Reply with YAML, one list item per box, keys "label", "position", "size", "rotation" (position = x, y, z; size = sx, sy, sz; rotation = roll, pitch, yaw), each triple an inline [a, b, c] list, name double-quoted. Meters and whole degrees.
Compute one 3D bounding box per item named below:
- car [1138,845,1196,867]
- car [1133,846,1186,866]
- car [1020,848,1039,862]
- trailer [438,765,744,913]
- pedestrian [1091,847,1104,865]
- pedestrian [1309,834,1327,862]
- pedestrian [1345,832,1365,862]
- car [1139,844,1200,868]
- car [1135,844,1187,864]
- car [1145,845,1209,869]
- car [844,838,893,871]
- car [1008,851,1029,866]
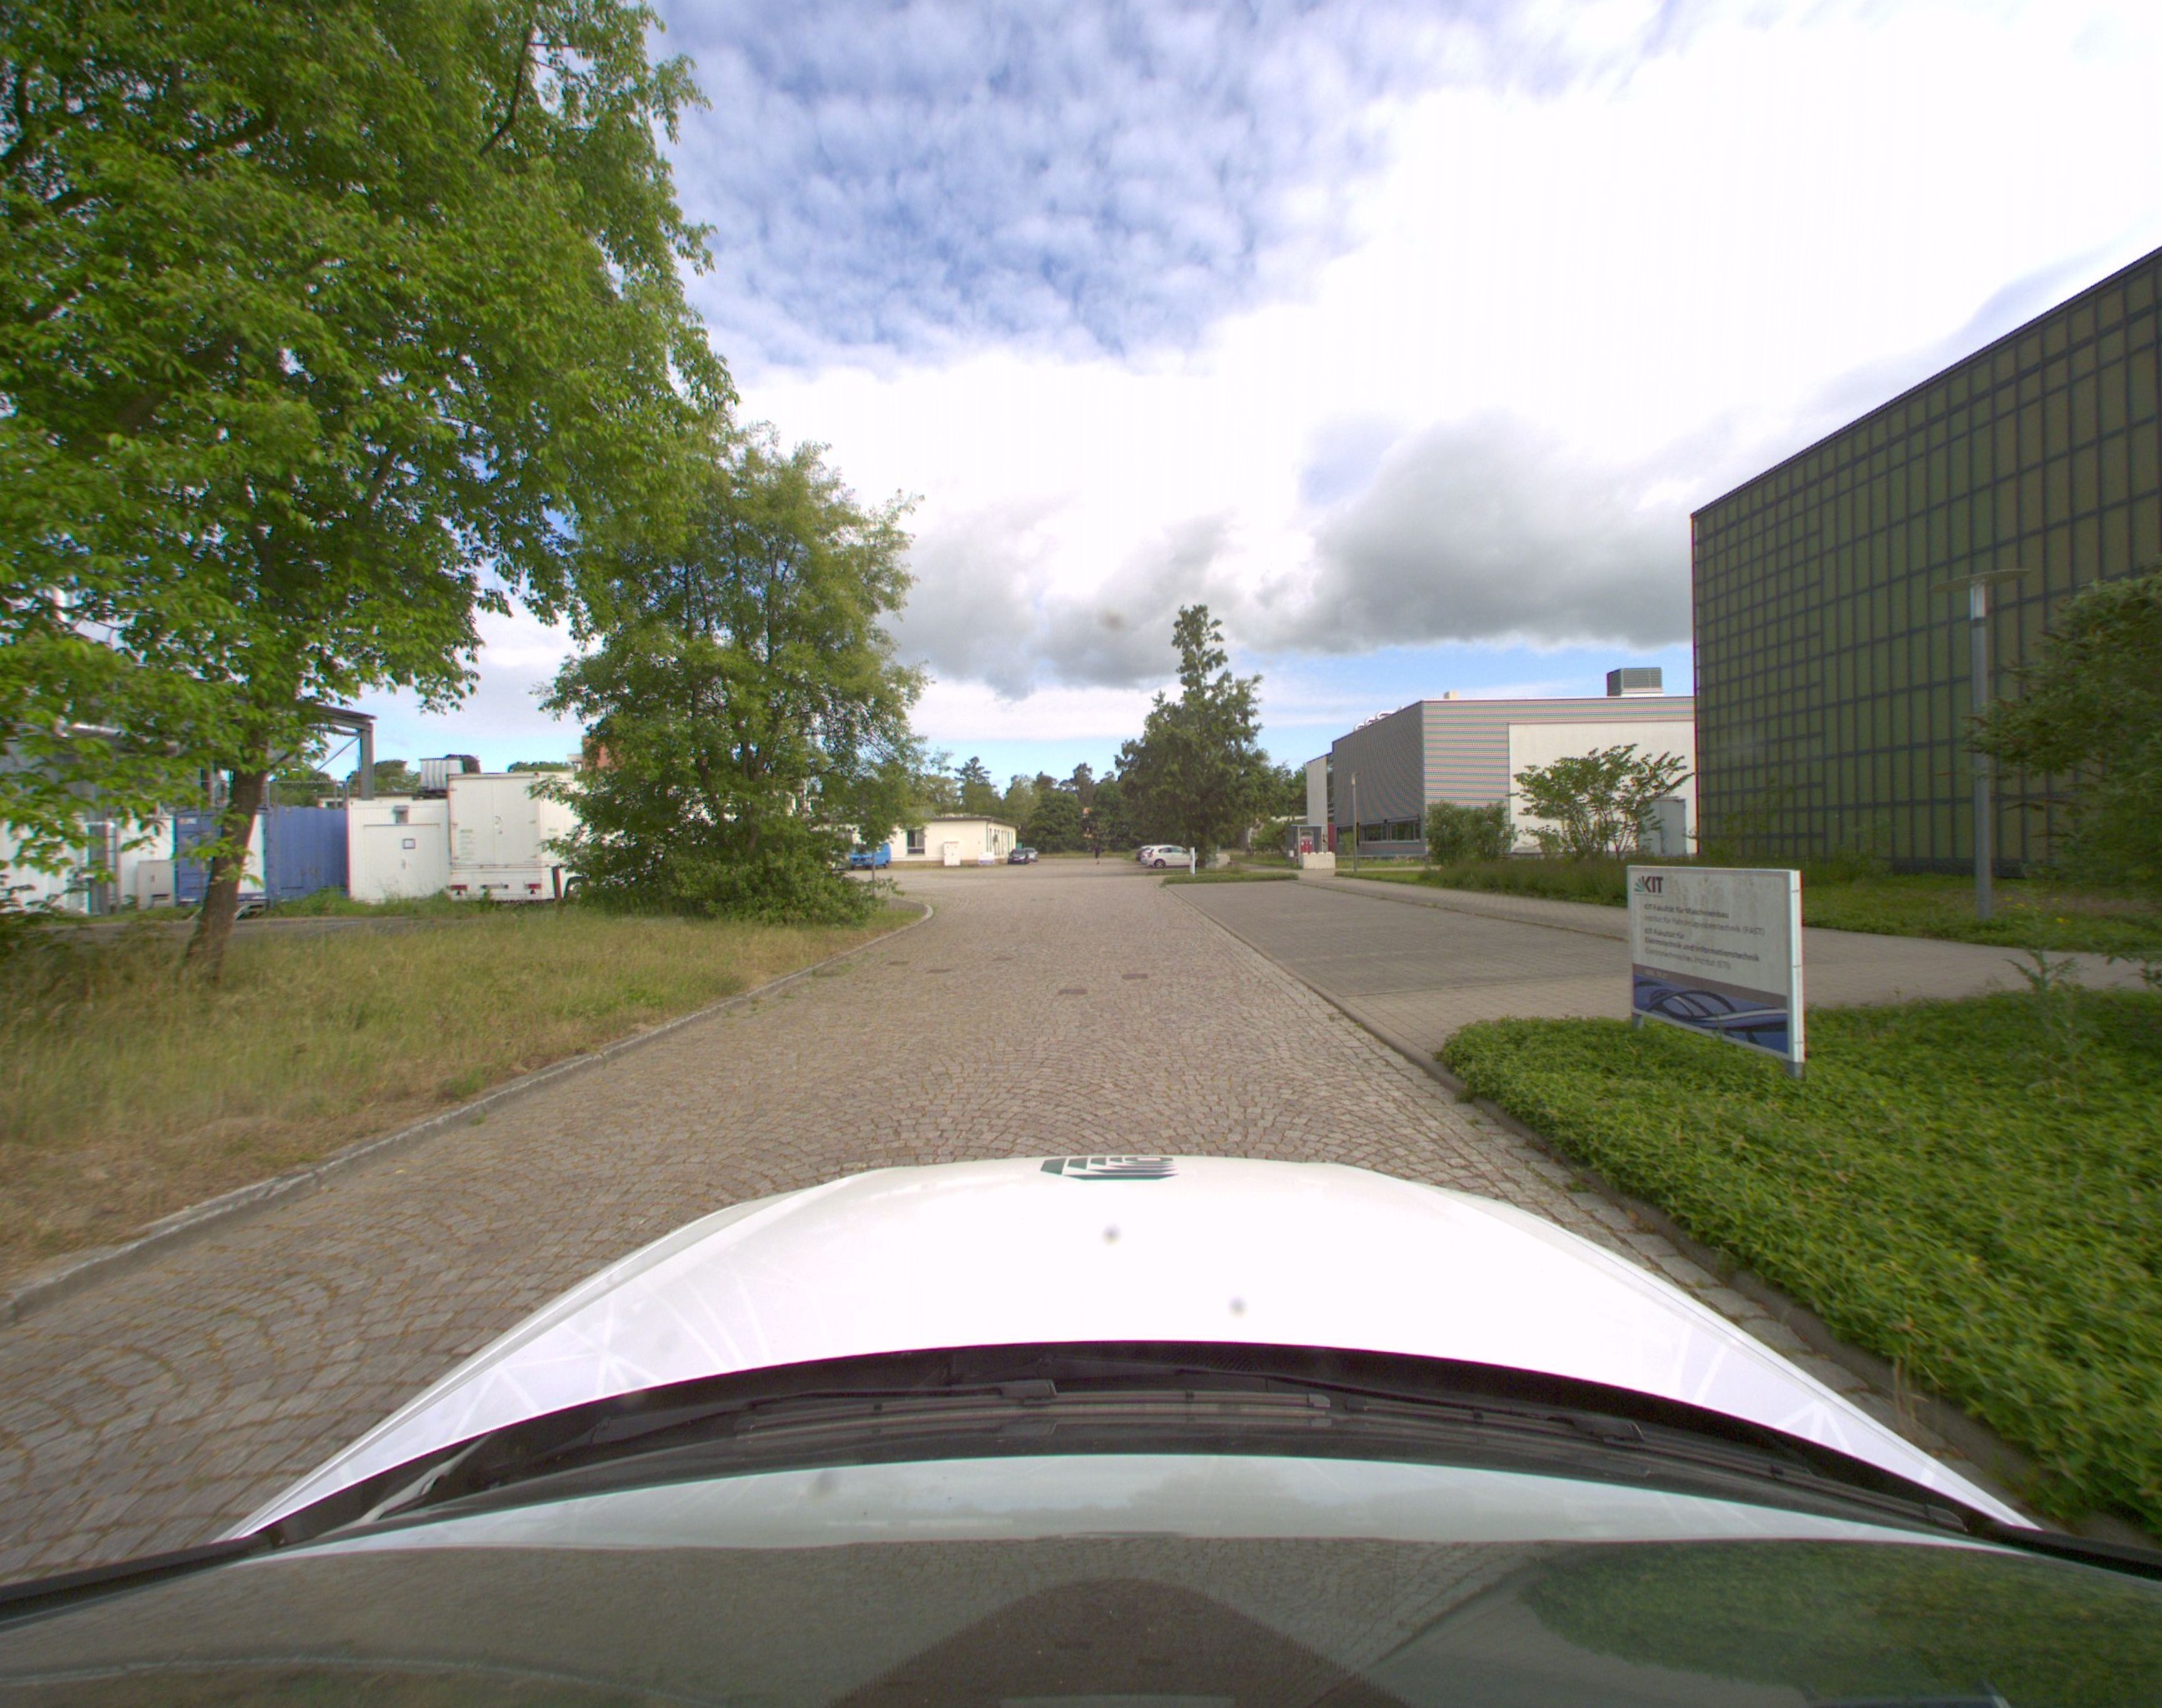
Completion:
- label: "car"
  position: [6.110, 0.131, 58.210]
  size: [3.972, 1.455, 1.770]
  rotation: [-1, 0, 1]
- label: "car"
  position: [6.059, 0.130, 63.116]
  size: [3.972, 1.455, 1.770]
  rotation: [-1, 0, 1]
- label: "car"
  position: [-5.497, 0.069, 87.383]
  size: [1.744, 1.454, 3.998]
  rotation: [-1, 0, -1]
- label: "trailer"
  position: [-14.700, -0.412, 26.094]
  size: [2.645, 3.705, 10.732]
  rotation: [-1, 0, 4]
- label: "pedestrian"
  position: [1.449, 0.149, 72.941]
  size: [0.940, 1.568, 0.967]
  rotation: [-1, 0, -11]
- label: "pedestrian"
  position: [17.822, -0.457, 61.213]
  size: [0.919, 2.013, 1.145]
  rotation: [-1, 0, -5]
- label: "pedestrian"
  position: [17.911, -0.470, 53.263]
  size: [0.922, 1.936, 0.847]
  rotation: [-1, 0, -29]
- label: "car"
  position: [5.974, 0.125, 55.170]
  size: [3.972, 1.455, 1.698]
  rotation: [-1, 0, 1]
- label: "car"
  position: [6.465, 0.019, 66.326]
  size: [3.977, 1.533, 1.998]
  rotation: [-1, 0, -3]
- label: "car"
  position: [6.214, 0.213, 52.997]
  size: [3.972, 1.455, 2.001]
  rotation: [-1, -1, 1]
- label: "car"
  position: [-17.036, 0.029, 65.720]
  size: [1.984, 2.523, 5.625]
  rotation: [-1, 0, 5]
- label: "car"
  position: [-5.873, 0.372, 77.153]
  size: [1.744, 1.364, 3.998]
  rotation: [-1, 0, -1]
